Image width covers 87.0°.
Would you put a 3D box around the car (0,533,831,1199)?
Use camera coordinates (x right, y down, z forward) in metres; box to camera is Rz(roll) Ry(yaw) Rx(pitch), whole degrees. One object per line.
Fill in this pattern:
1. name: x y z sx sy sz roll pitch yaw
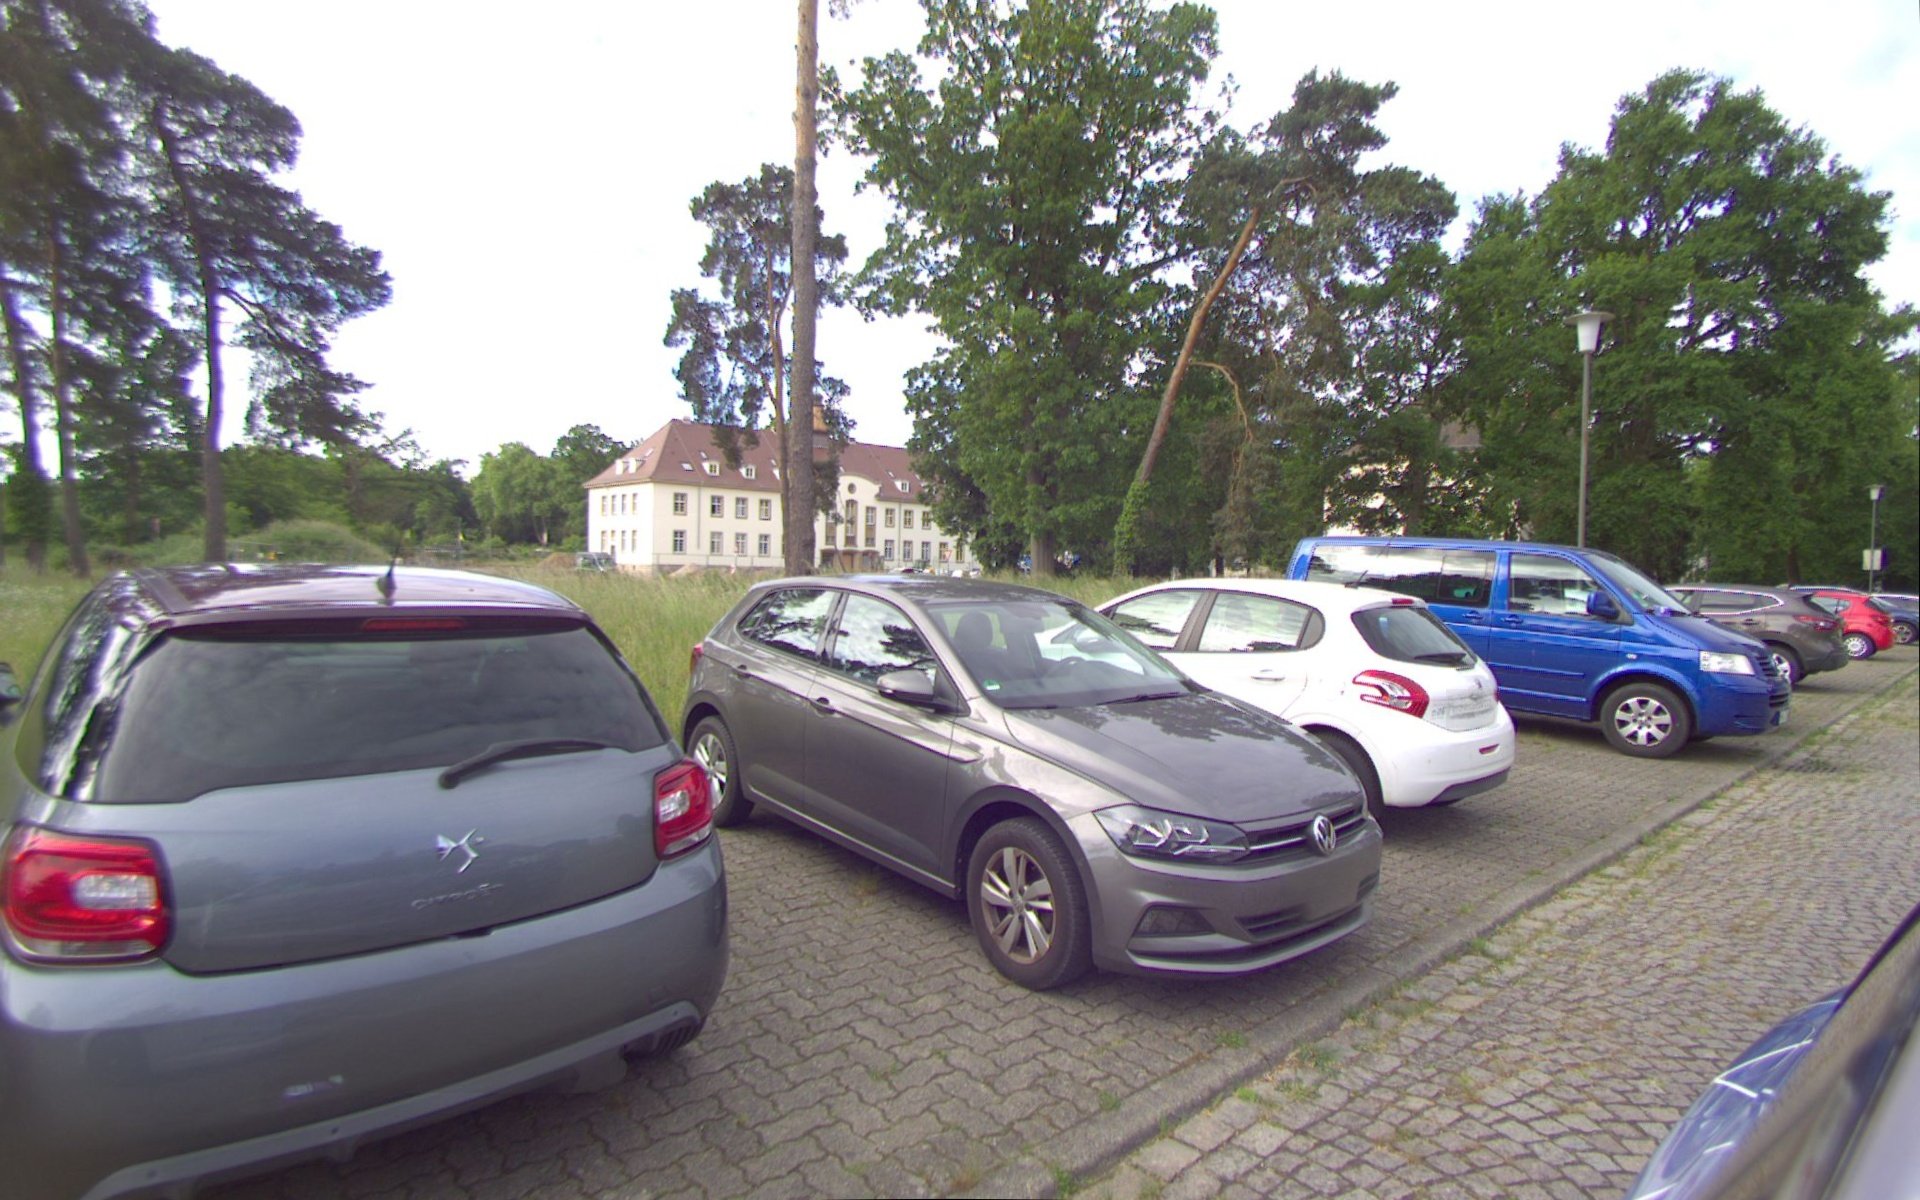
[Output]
1. car: -2.176 0.570 3.510 1.713 1.505 3.511 0 3 -42

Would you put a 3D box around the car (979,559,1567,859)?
1. car: 2.031 0.521 7.316 1.735 1.496 3.660 0 3 -42

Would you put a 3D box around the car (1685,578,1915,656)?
1. car: 19.640 0.339 23.774 1.755 1.514 3.928 0 3 -43

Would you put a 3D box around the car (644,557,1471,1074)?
1. car: 0.092 0.589 5.199 1.735 1.465 4.139 0 3 -41

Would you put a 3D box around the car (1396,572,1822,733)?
1. car: 7.796 0.495 12.447 1.694 1.496 4.101 0 3 -45

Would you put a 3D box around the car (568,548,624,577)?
1. car: -34.566 -3.553 96.036 5.647 2.674 2.248 1 1 36

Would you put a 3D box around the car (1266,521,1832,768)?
1. car: 5.953 0.229 10.757 1.934 2.028 4.802 0 3 -44

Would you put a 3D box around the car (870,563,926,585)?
1. car: -4.533 -1.888 74.337 4.008 1.571 1.652 -1 1 -41

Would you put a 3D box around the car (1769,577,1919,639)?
1. car: 27.242 0.211 30.464 1.855 1.642 4.251 0 3 -43

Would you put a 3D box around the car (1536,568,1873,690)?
1. car: 12.247 0.367 16.846 1.921 1.614 4.208 0 3 -44

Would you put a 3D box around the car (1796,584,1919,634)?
1. car: 30.734 0.298 33.550 1.892 1.456 4.368 0 3 -40
